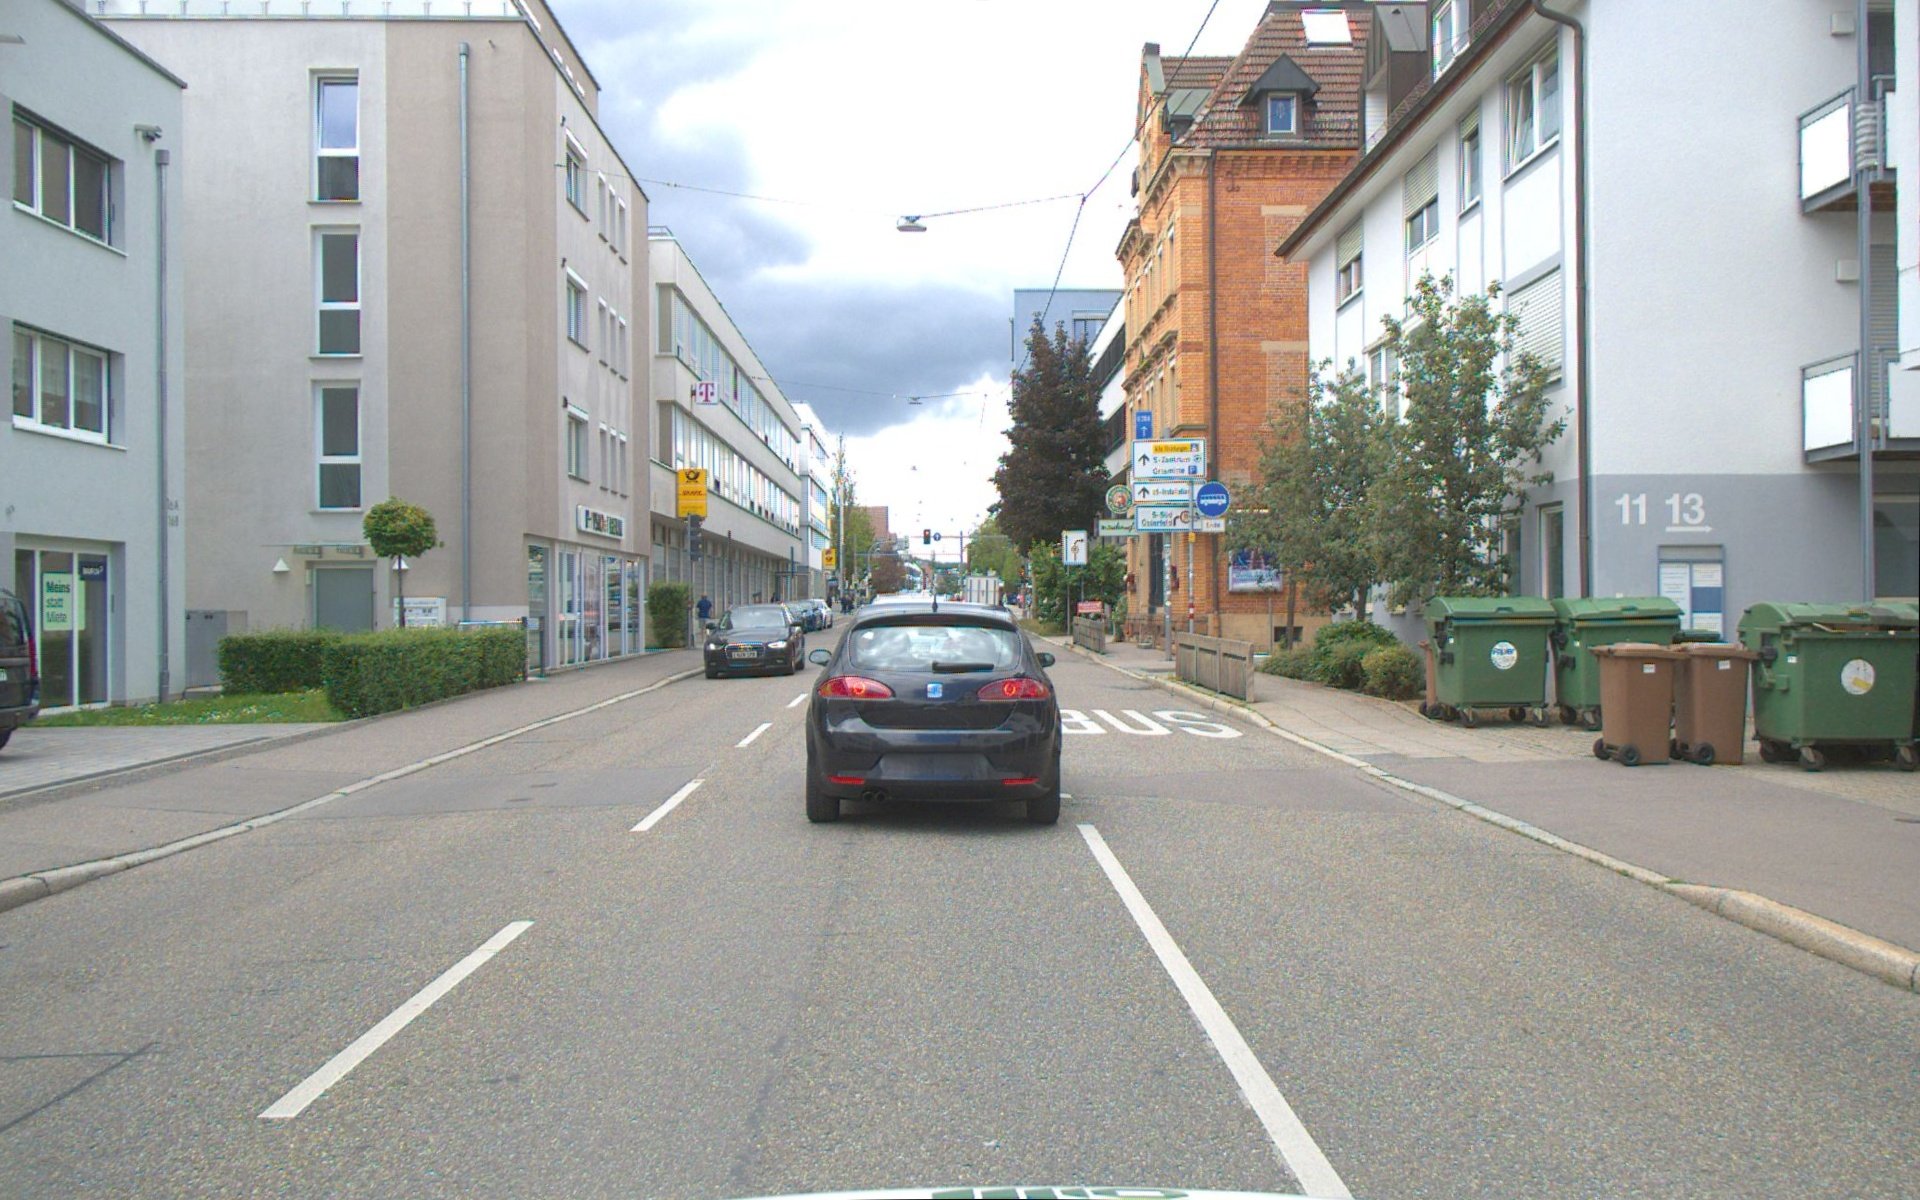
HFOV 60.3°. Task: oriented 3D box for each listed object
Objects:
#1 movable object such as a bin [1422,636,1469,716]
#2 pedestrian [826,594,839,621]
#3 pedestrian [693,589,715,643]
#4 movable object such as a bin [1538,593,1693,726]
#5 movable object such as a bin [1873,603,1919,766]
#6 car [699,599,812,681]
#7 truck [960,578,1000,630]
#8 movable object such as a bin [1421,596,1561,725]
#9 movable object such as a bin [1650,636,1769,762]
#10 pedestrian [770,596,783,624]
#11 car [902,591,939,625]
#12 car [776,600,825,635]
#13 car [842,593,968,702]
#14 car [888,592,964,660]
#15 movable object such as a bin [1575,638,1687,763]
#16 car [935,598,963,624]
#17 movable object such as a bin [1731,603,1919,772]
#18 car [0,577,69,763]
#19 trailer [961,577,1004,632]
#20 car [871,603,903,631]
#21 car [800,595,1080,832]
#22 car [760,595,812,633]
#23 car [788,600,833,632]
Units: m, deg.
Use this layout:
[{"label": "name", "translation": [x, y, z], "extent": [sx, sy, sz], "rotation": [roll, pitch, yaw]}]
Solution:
[{"label": "movable object such as a bin", "translation": [5.848, 0.915, 19.939], "extent": [0.421, 0.937, 0.465], "rotation": [0, 0, -1]}, {"label": "pedestrian", "translation": [-9.299, 0.539, 120.576], "extent": [0.899, 1.901, 0.783], "rotation": [0, 0, -2]}, {"label": "pedestrian", "translation": [-8.630, 0.533, 55.827], "extent": [0.630, 1.800, 0.809], "rotation": [0, 0, -3]}, {"label": "movable object such as a bin", "translation": [7.449, 0.657, 18.875], "extent": [1.241, 1.460, 1.307], "rotation": [0, 0, -1]}, {"label": "movable object such as a bin", "translation": [9.136, 0.751, 14.870], "extent": [1.184, 1.442, 1.260], "rotation": [0, 0, 3]}, {"label": "car", "translation": [-4.148, 0.775, 34.179], "extent": [1.840, 1.476, 4.213], "rotation": [-3, 0, -1]}, {"label": "truck", "translation": [1.036, 0.190, 86.063], "extent": [1.953, 2.653, 3.259], "rotation": [0, 0, -2]}, {"label": "movable object such as a bin", "translation": [6.119, 0.678, 19.131], "extent": [1.241, 1.442, 1.162], "rotation": [0, 0, -1]}, {"label": "movable object such as a bin", "translation": [6.865, 0.891, 15.195], "extent": [0.683, 1.098, 0.972], "rotation": [0, 0, 3]}, {"label": "pedestrian", "translation": [-10.811, 0.580, 97.481], "extent": [0.642, 1.651, 0.681], "rotation": [0, 0, 0]}, {"label": "car", "translation": [-1.969, 0.404, 81.672], "extent": [1.767, 1.629, 3.736], "rotation": [1, 0, -2]}, {"label": "car", "translation": [-7.413, 0.798, 77.199], "extent": [1.953, 1.543, 4.173], "rotation": [0, 0, -2]}, {"label": "car", "translation": [-0.820, 0.666, 25.225], "extent": [1.767, 1.519, 3.736], "rotation": [0, 0, -2]}, {"label": "car", "translation": [-0.844, 0.605, 40.471], "extent": [1.767, 1.580, 3.736], "rotation": [0, 0, -2]}, {"label": "movable object such as a bin", "translation": [6.150, 0.905, 15.208], "extent": [0.669, 1.086, 0.972], "rotation": [0, 0, 3]}, {"label": "car", "translation": [-0.728, 0.703, 108.193], "extent": [1.767, 1.629, 3.736], "rotation": [1, 0, -2]}, {"label": "movable object such as a bin", "translation": [7.800, 0.758, 14.863], "extent": [1.184, 1.442, 1.260], "rotation": [0, 0, 3]}, {"label": "car", "translation": [-10.770, 0.664, 15.353], "extent": [4.076, 1.697, 1.725], "rotation": [-1, -1, 2]}, {"label": "trailer", "translation": [1.111, 0.199, 83.248], "extent": [1.953, 2.653, 5.347], "rotation": [0, 0, -2]}, {"label": "car", "translation": [-4.883, 1.149, 111.061], "extent": [1.953, 1.769, 4.552], "rotation": [-2, 0, -2]}, {"label": "car", "translation": [-0.152, 0.699, 12.190], "extent": [1.730, 1.458, 3.827], "rotation": [0, 0, -1]}, {"label": "car", "translation": [-7.464, 0.595, 71.240], "extent": [1.874, 1.543, 4.173], "rotation": [-2, 0, -2]}, {"label": "car", "translation": [-7.475, 0.784, 82.903], "extent": [1.953, 1.543, 4.173], "rotation": [0, 0, -2]}]
